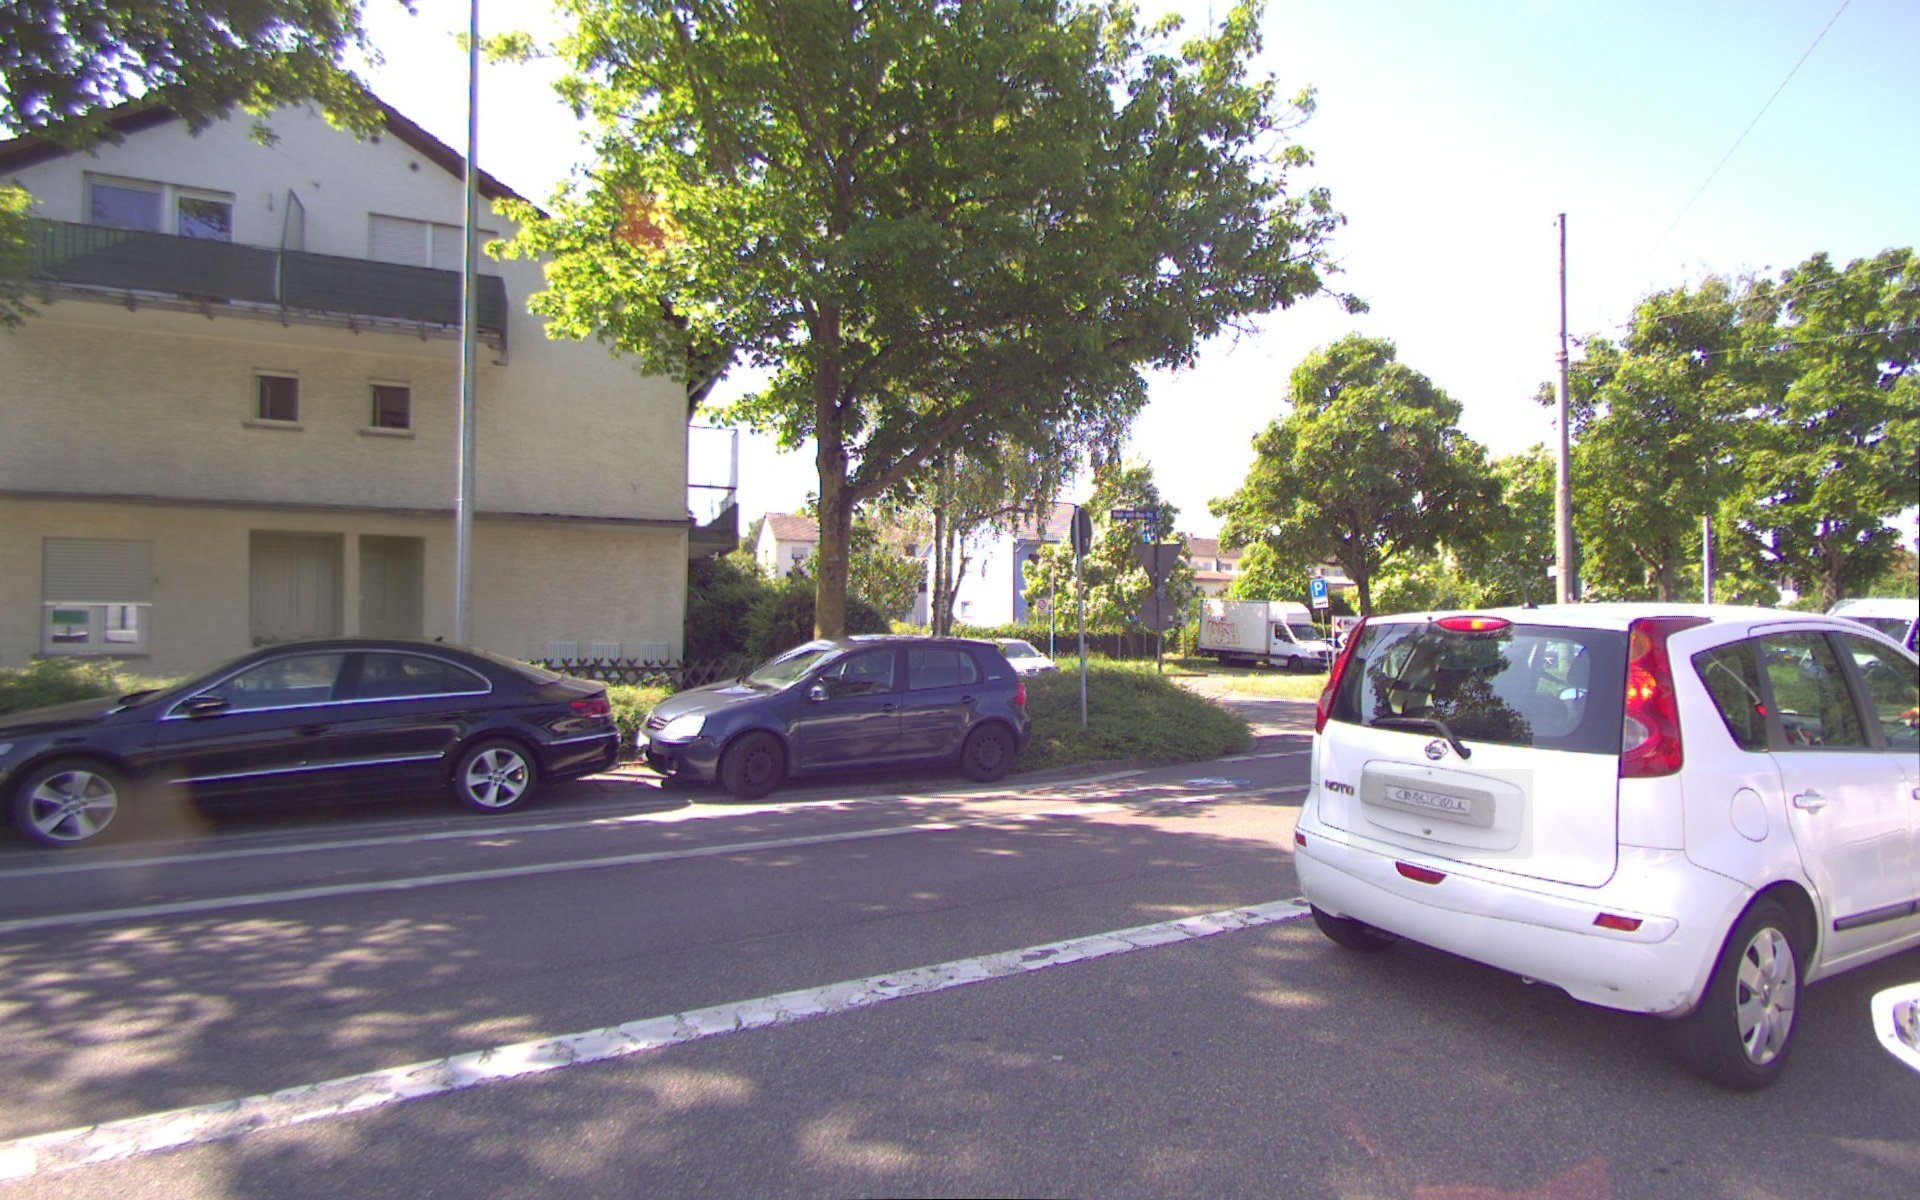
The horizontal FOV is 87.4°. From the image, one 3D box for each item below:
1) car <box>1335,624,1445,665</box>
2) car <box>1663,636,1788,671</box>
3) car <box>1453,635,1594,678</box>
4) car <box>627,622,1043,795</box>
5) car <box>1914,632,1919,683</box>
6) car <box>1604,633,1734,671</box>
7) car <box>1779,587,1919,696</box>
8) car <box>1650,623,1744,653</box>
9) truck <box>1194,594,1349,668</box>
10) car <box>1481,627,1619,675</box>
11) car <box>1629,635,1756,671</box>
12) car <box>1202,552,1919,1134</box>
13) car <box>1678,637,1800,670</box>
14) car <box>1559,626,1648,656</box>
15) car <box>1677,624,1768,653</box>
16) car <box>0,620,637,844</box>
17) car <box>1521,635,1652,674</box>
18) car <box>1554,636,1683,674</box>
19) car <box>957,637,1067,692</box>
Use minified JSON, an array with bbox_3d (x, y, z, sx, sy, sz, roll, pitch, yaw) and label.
[{"bbox_3d":[21.657,2.211,50.810,2.043,1.811,4.762,2,0,-34],"label":"car"},{"bbox_3d":[33.114,2.324,43.554,1.712,1.434,3.964,2,-4,-33],"label":"car"},{"bbox_3d":[19.658,1.980,35.204,1.712,1.434,3.964,2,-4,-33],"label":"car"},{"bbox_3d":[-1.276,1.007,10.532,3.988,1.462,1.718,1,0,-28],"label":"car"},{"bbox_3d":[29.393,1.671,28.819,4.230,1.434,1.854,1,0,-31],"label":"car"},{"bbox_3d":[28.784,2.130,40.878,1.712,1.434,3.964,2,-4,-33],"label":"car"},{"bbox_3d":[23.769,1.022,25.861,5.745,2.550,2.114,1,0,-29],"label":"car"},{"bbox_3d":[50.394,2.598,68.797,2.043,1.811,4.762,2,0,-34],"label":"car"},{"bbox_3d":[14.365,1.348,46.910,2.647,3.152,6.967,1,0,-31],"label":"truck"},{"bbox_3d":[21.430,1.875,36.629,1.712,1.631,3.964,2,-4,-33],"label":"car"},{"bbox_3d":[30.694,2.216,42.181,1.712,1.434,3.964,2,-4,-33],"label":"car"},{"bbox_3d":[3.347,0.699,4.576,4.493,1.568,1.654,1,-1,-31],"label":"car"},{"bbox_3d":[34.870,2.405,45.068,1.712,1.434,3.964,2,-4,-33],"label":"car"},{"bbox_3d":[44.433,2.823,69.414,2.043,1.811,4.762,2,0,-34],"label":"car"},{"bbox_3d":[54.336,2.723,71.677,2.043,1.811,4.762,2,0,-34],"label":"car"},{"bbox_3d":[-5.273,0.933,8.474,4.568,1.434,1.854,1,0,-31],"label":"car"},{"bbox_3d":[24.128,2.108,38.802,1.712,1.434,3.964,2,-4,-33],"label":"car"},{"bbox_3d":[26.284,2.222,40.222,1.712,1.434,3.964,2,-4,-33],"label":"car"},{"bbox_3d":[1.383,1.812,28.497,1.704,1.434,3.983,1,-3,-20],"label":"car"}]
